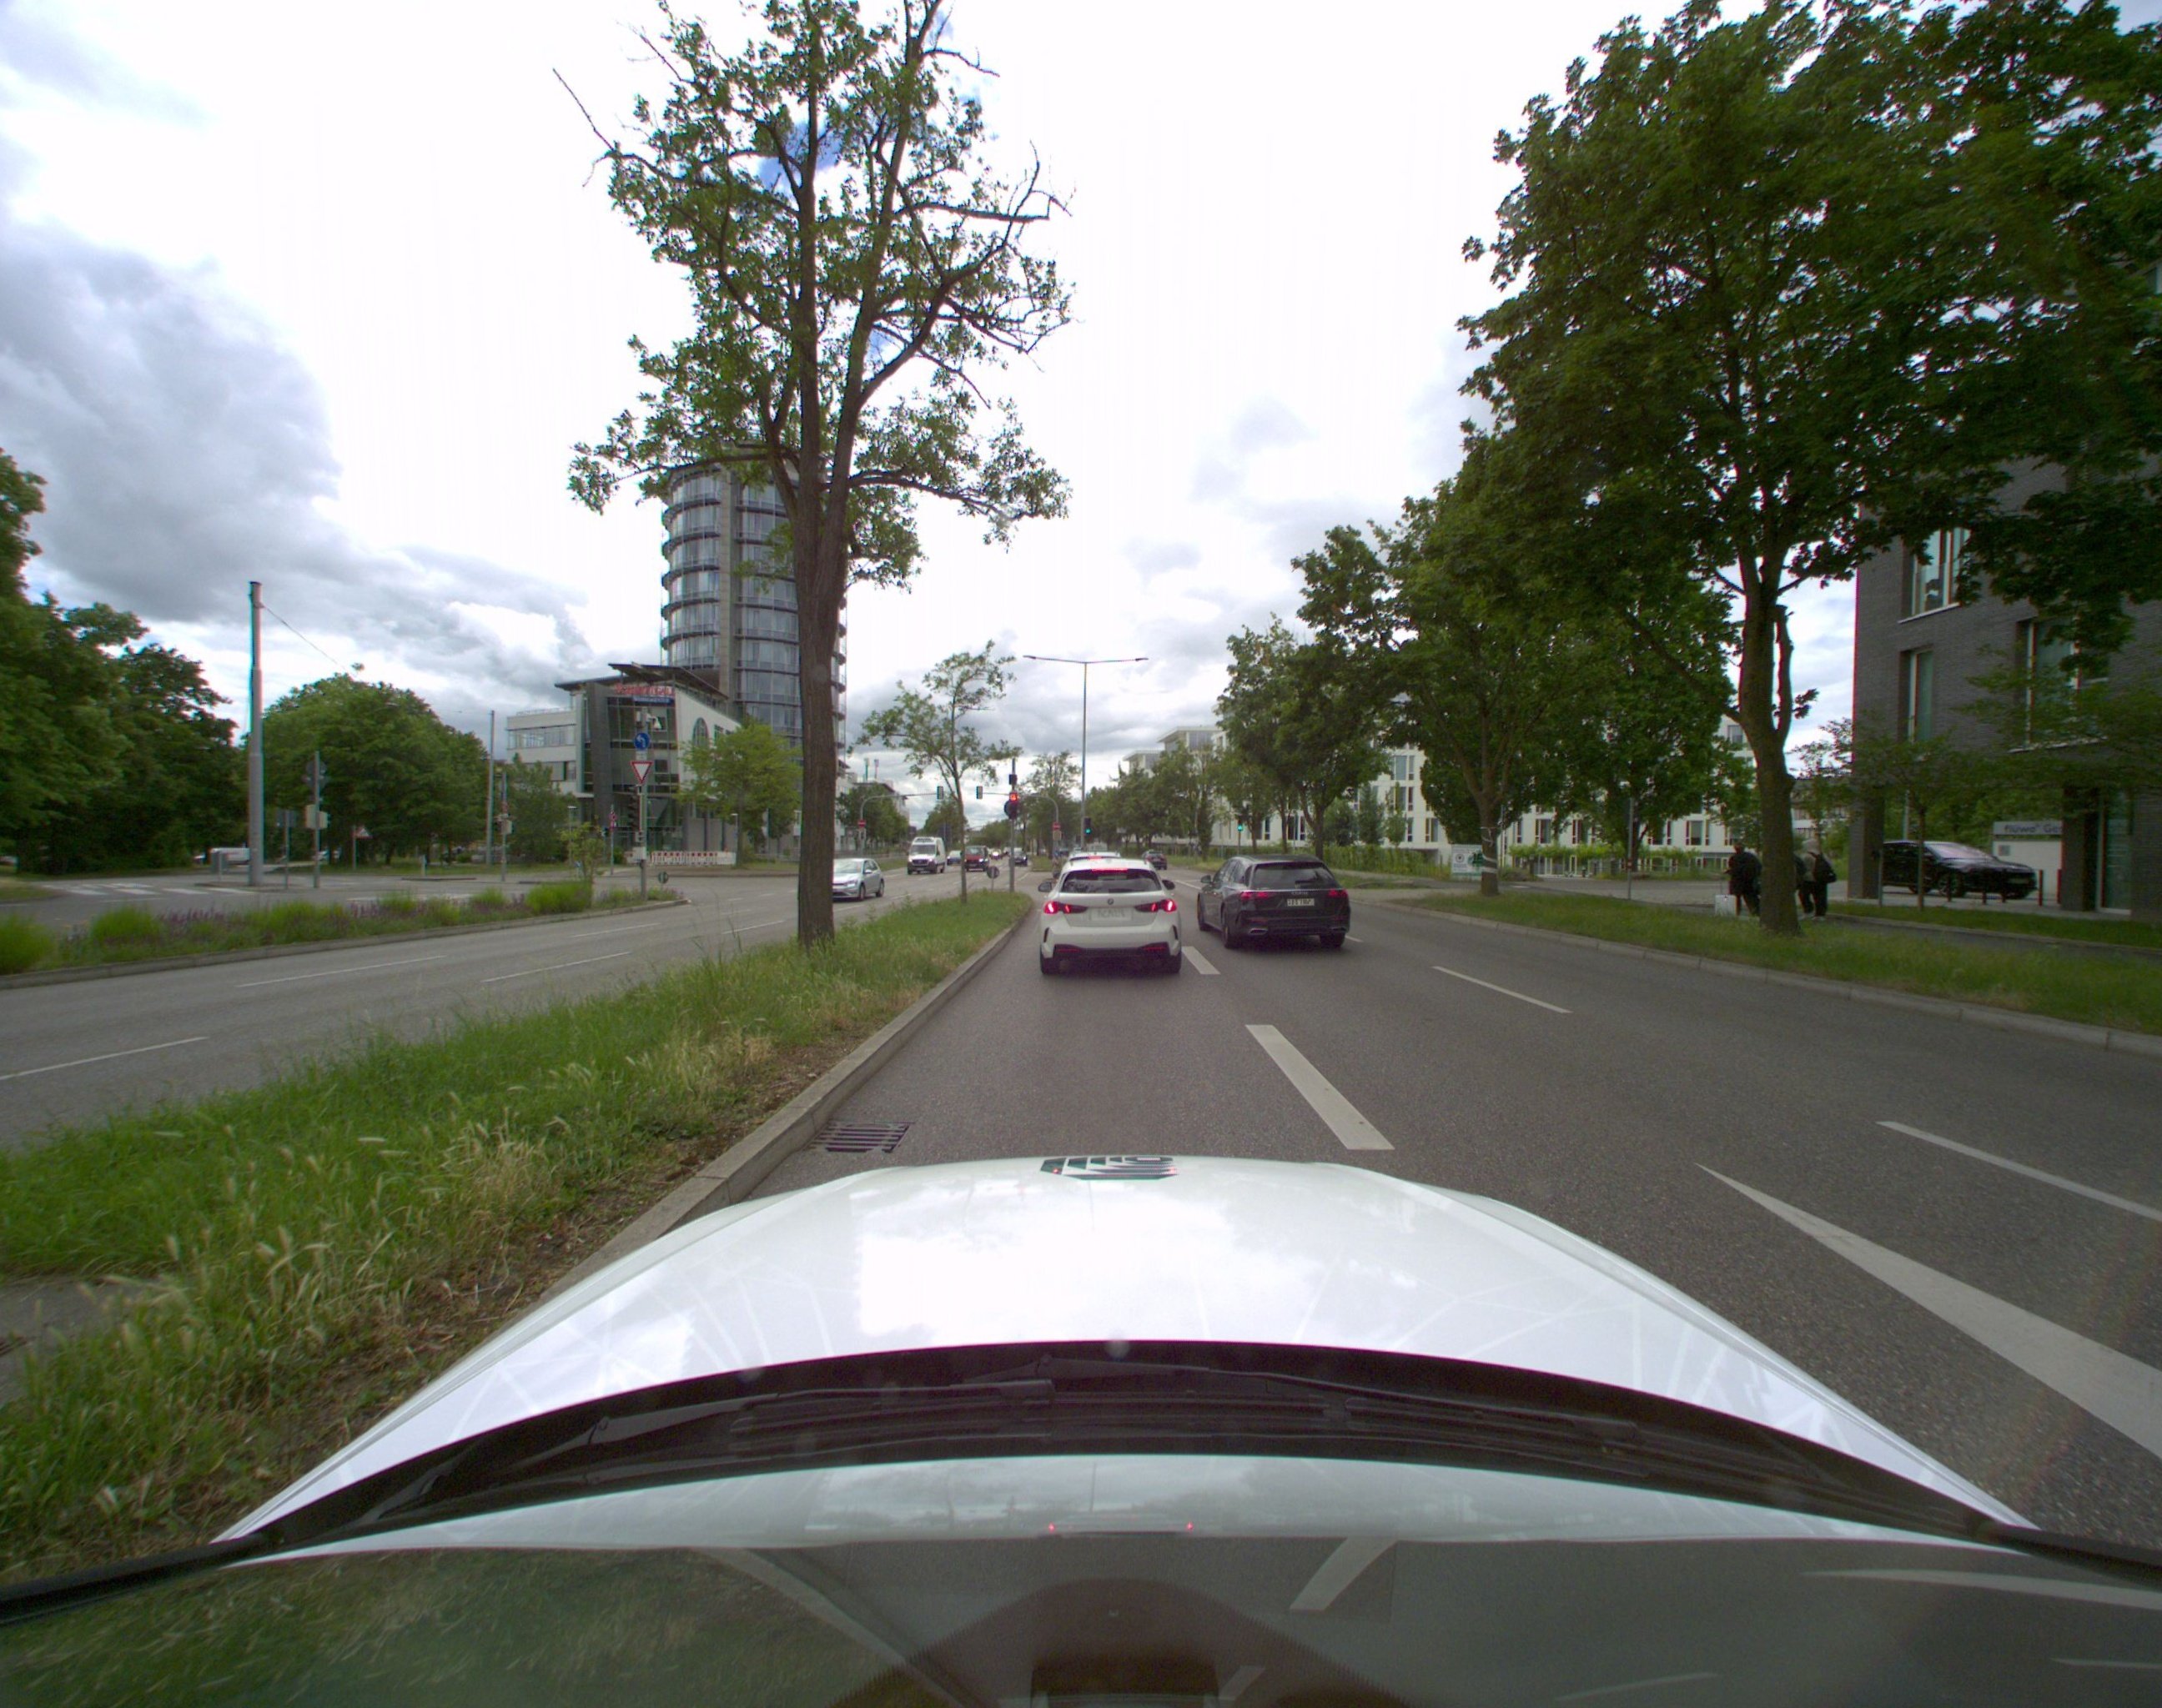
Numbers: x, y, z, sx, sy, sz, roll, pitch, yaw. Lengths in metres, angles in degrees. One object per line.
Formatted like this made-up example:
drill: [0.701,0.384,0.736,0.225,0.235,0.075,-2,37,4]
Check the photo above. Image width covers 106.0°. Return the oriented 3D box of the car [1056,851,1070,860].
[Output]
car: [-3.104,0.208,139.001,1.992,1.508,3.990,0,0,-7]

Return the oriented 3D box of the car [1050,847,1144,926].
car: [0.430,0.698,19.233,1.986,1.672,4.002,0,0,2]

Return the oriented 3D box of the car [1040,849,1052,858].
car: [-6.308,-0.052,146.481,1.988,1.490,3.998,1,0,-1]

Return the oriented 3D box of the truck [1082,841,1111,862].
truck: [1.816,-0.232,100.569,2.856,2.519,6.273,0,0,-6]

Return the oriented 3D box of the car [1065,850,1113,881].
car: [0.461,0.554,40.825,1.983,1.508,4.008,0,0,7]

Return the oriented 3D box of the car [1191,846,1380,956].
car: [3.260,0.662,14.109,2.046,1.486,4.974,-2,0,1]

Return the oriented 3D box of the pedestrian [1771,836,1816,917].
pedestrian: [14.100,0.439,16.121,0.407,1.552,0.563,1,-1,7]

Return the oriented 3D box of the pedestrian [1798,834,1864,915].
pedestrian: [14.798,0.396,16.091,0.586,1.552,0.745,2,0,7]

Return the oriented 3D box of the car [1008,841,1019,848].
car: [-16.159,-2.188,195.174,1.986,1.618,4.001,2,0,1]

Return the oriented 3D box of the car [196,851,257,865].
car: [-128.360,0.585,122.442,1.977,2.013,6.012,0,0,18]

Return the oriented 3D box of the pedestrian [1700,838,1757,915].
pedestrian: [13.379,0.456,16.844,0.721,1.552,0.588,0,0,6]

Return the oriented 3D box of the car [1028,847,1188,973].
car: [0.451,0.650,11.412,1.855,1.449,4.004,0,0,4]

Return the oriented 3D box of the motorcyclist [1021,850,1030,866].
motorcyclist: [-6.188,0.427,90.301,0.845,1.837,1.260,0,0,1]

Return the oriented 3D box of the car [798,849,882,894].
car: [-8.310,0.556,28.454,1.748,1.444,4.133,-1,0,-1]

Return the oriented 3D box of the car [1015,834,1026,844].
car: [-13.232,-3.272,177.966,1.988,2.010,4.322,2,0,-1]

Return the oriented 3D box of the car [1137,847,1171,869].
car: [5.490,0.285,61.622,1.989,1.596,3.996,0,0,-3]

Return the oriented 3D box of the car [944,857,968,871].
car: [-12.737,1.018,83.194,1.701,1.419,3.804,-1,0,1]

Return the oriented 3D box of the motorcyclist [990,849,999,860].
motorcyclist: [-11.355,0.071,106.606,0.906,1.392,1.674,0,0,2]

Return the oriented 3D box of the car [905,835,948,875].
car: [-10.964,0.067,58.240,1.988,2.634,5.872,2,0,-1]

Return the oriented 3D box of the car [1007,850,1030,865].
car: [-5.858,0.332,76.818,1.747,1.371,3.781,-1,0,1]

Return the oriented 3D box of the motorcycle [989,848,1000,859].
motorcycle: [-11.354,-0.101,106.816,0.886,1.398,4.001,0,0,2]

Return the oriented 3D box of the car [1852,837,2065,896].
car: [25.025,0.326,23.487,1.817,1.552,4.183,0,0,4]

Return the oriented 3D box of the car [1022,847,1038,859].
car: [-6.704,-0.184,107.338,1.701,1.497,3.804,-1,0,1]

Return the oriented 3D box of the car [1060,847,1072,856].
car: [-2.600,-0.377,142.231,1.988,1.490,3.998,1,0,-1]

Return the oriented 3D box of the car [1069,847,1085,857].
car: [-0.607,-0.290,118.457,1.991,1.508,3.992,0,0,-6]

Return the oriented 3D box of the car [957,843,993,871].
car: [-8.121,0.244,62.769,1.928,1.918,4.974,-2,-2,1]
